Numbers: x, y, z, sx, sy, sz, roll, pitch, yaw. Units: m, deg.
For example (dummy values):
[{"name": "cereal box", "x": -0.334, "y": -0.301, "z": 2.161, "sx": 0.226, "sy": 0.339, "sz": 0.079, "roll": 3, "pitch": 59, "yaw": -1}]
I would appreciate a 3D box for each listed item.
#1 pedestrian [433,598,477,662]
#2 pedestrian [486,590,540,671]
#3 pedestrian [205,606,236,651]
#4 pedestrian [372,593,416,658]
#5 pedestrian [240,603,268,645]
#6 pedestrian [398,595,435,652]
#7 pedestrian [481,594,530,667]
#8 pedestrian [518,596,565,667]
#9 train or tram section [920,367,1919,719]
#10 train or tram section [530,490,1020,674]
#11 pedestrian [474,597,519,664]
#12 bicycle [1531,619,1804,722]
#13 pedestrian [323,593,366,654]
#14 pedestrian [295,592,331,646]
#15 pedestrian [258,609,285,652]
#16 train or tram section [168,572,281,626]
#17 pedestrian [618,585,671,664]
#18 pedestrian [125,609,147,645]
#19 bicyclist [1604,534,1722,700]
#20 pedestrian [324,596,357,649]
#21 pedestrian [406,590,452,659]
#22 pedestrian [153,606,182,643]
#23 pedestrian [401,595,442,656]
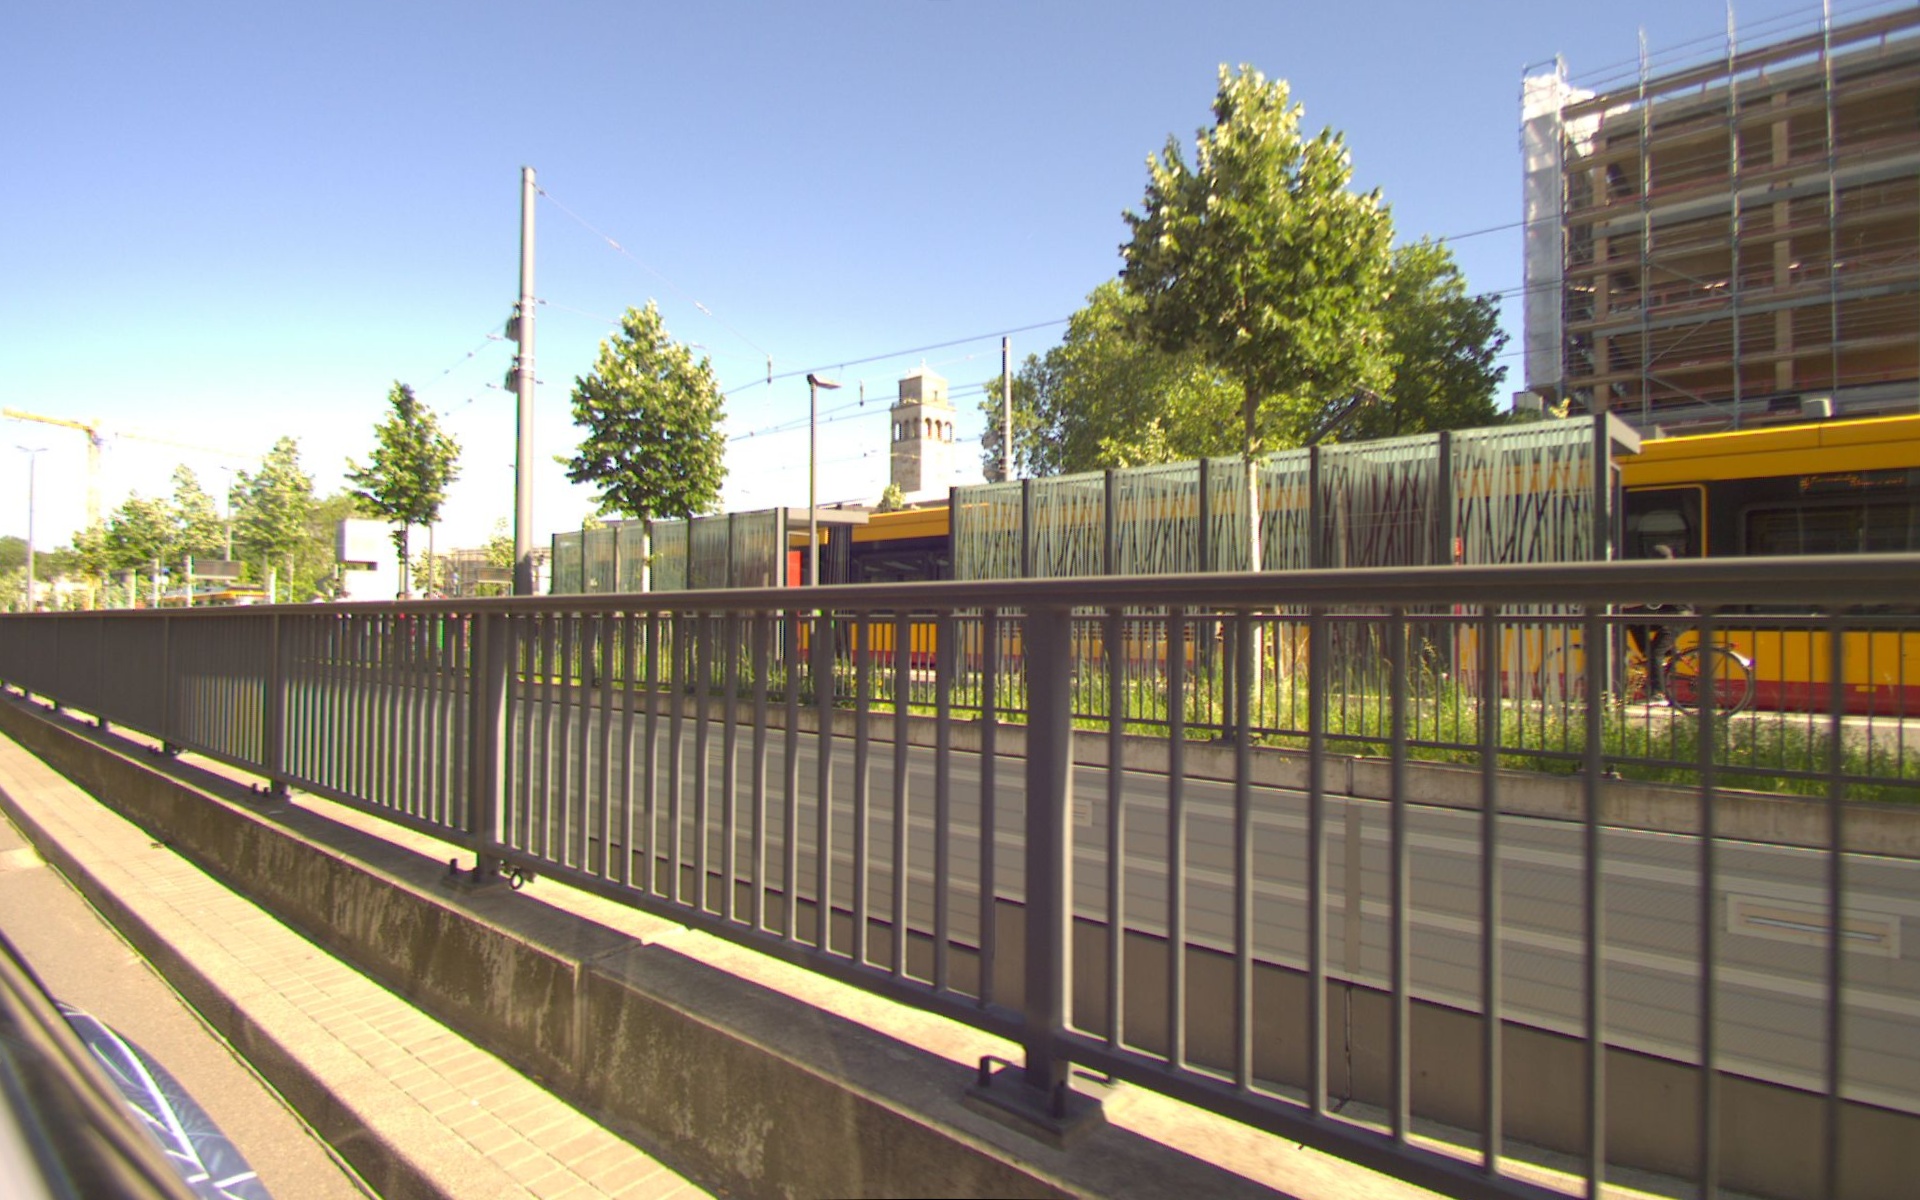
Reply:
[{"name": "pedestrian", "x": -13.244, "y": 0.772, "z": 26.521, "sx": 0.947, "sy": 1.641, "sz": 0.733, "roll": -1, "pitch": -2, "yaw": 43}, {"name": "pedestrian", "x": -9.352, "y": 0.630, "z": 21.170, "sx": 0.861, "sy": 1.641, "sz": 0.733, "roll": -1, "pitch": -2, "yaw": 43}, {"name": "pedestrian", "x": -30.124, "y": 1.153, "z": 41.206, "sx": 0.978, "sy": 1.788, "sz": 0.783, "roll": -2, "pitch": -1, "yaw": 39}, {"name": "pedestrian", "x": -14.571, "y": 0.652, "z": 26.051, "sx": 0.861, "sy": 1.641, "sz": 0.733, "roll": -1, "pitch": -2, "yaw": 43}, {"name": "pedestrian", "x": -30.418, "y": 1.031, "z": 43.594, "sx": 0.825, "sy": 1.788, "sz": 0.754, "roll": -2, "pitch": -1, "yaw": 38}, {"name": "pedestrian", "x": -16.461, "y": 0.709, "z": 30.663, "sx": 0.861, "sy": 1.707, "sz": 0.733, "roll": -1, "pitch": -2, "yaw": 43}, {"name": "pedestrian", "x": -10.441, "y": 0.689, "z": 23.232, "sx": 0.861, "sy": 1.641, "sz": 0.733, "roll": -1, "pitch": -2, "yaw": 43}, {"name": "pedestrian", "x": -9.892, "y": 0.736, "z": 23.916, "sx": 0.861, "sy": 1.641, "sz": 0.733, "roll": -1, "pitch": -2, "yaw": 43}, {"name": "train or tram section", "x": 8.498, "y": -0.520, "z": 11.891, "sx": 22.135, "sy": 3.304, "sz": 2.840, "roll": -1, "pitch": 0, "yaw": 42}, {"name": "train or tram section", "x": -5.409, "y": -0.218, "z": 24.295, "sx": 15.179, "sy": 3.304, "sz": 2.840, "roll": -1, "pitch": 0, "yaw": 42}, {"name": "pedestrian", "x": -11.604, "y": 0.753, "z": 25.325, "sx": 0.861, "sy": 1.641, "sz": 0.733, "roll": -1, "pitch": -2, "yaw": 43}, {"name": "bicycle", "x": 6.680, "y": 0.628, "z": 9.653, "sx": 2.087, "sy": 0.892, "sz": 0.532, "roll": -1, "pitch": -2, "yaw": 42}, {"name": "pedestrian", "x": -19.457, "y": 0.740, "z": 31.975, "sx": 1.007, "sy": 1.865, "sz": 0.877, "roll": -1, "pitch": -2, "yaw": 42}, {"name": "pedestrian", "x": -22.283, "y": 0.669, "z": 34.858, "sx": 1.030, "sy": 1.824, "sz": 0.761, "roll": -1, "pitch": -2, "yaw": 41}, {"name": "pedestrian", "x": -25.039, "y": 1.114, "z": 36.805, "sx": 0.588, "sy": 1.524, "sz": 0.641, "roll": -2, "pitch": -1, "yaw": 39}, {"name": "train or tram section", "x": -49.888, "y": 0.017, "z": 68.333, "sx": 15.960, "sy": 3.346, "sz": 2.818, "roll": -1, "pitch": 0, "yaw": 42}, {"name": "pedestrian", "x": -6.686, "y": 0.523, "z": 21.462, "sx": 0.861, "sy": 1.641, "sz": 0.733, "roll": -1, "pitch": -2, "yaw": 43}, {"name": "pedestrian", "x": -41.594, "y": 1.372, "z": 51.080, "sx": 0.958, "sy": 1.788, "sz": 0.696, "roll": -2, "pitch": -1, "yaw": 39}, {"name": "bicyclist", "x": 6.696, "y": 0.162, "z": 9.647, "sx": 0.853, "sy": 1.502, "sz": 0.532, "roll": -1, "pitch": -2, "yaw": 42}, {"name": "pedestrian", "x": -21.647, "y": 0.782, "z": 35.370, "sx": 1.074, "sy": 1.824, "sz": 0.664, "roll": -1, "pitch": -2, "yaw": 41}, {"name": "pedestrian", "x": -13.000, "y": 0.603, "z": 24.778, "sx": 0.861, "sy": 1.641, "sz": 0.733, "roll": -1, "pitch": -2, "yaw": 43}, {"name": "pedestrian", "x": -38.942, "y": 1.216, "z": 49.735, "sx": 1.188, "sy": 1.788, "sz": 0.865, "roll": -2, "pitch": -1, "yaw": 39}, {"name": "pedestrian", "x": -14.805, "y": 0.696, "z": 27.816, "sx": 0.861, "sy": 1.641, "sz": 0.733, "roll": -1, "pitch": -2, "yaw": 43}]
